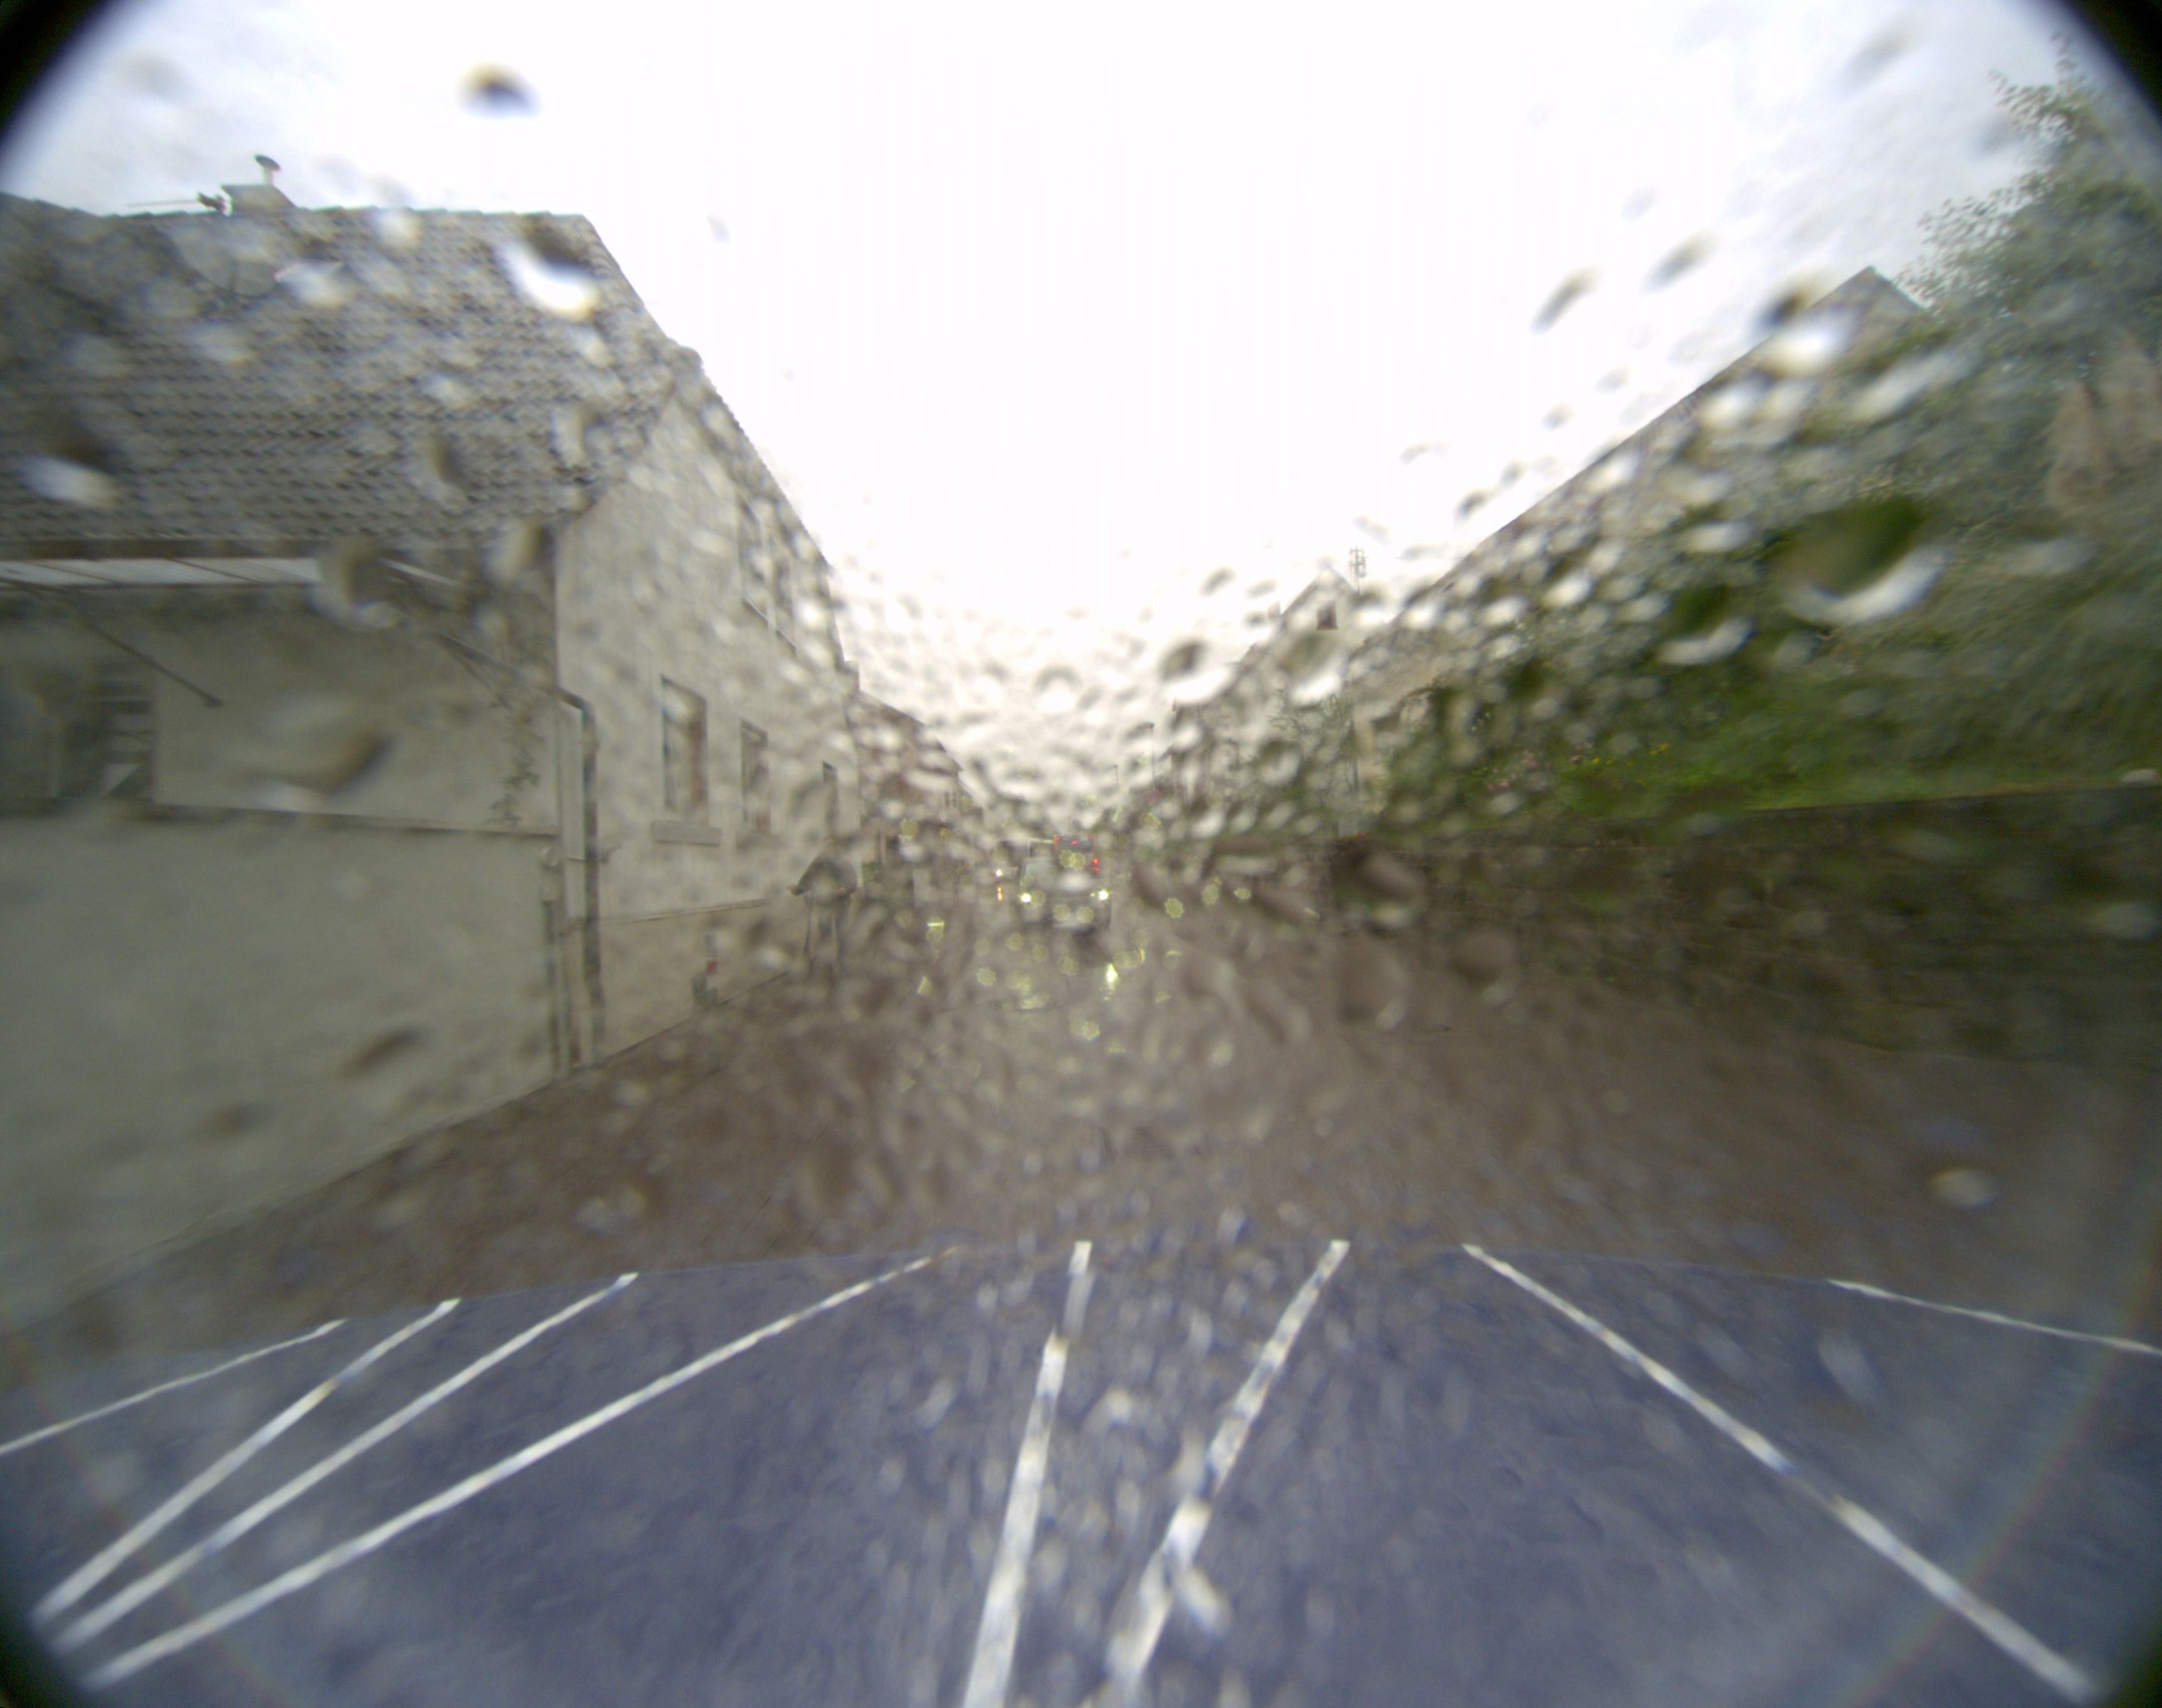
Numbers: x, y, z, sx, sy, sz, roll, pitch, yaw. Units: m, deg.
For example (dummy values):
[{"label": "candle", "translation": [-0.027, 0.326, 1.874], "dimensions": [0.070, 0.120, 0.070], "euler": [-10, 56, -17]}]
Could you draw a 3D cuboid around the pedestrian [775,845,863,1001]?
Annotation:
[{"label": "pedestrian", "translation": [-3.074, 0.779, 8.996], "dimensions": [0.696, 1.722, 0.821], "euler": [-3, 1, -3]}]

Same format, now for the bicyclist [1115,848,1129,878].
[{"label": "bicyclist", "translation": [2.523, 0.564, 47.142], "dimensions": [0.658, 1.759, 0.703], "euler": [-4, -1, -3]}]

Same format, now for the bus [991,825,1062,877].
[{"label": "bus", "translation": [-3.984, -0.285, 59.797], "dimensions": [3.440, 3.392, 13.873], "euler": [-3, 1, 4]}]

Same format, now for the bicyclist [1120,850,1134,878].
[{"label": "bicyclist", "translation": [2.898, 0.622, 47.479], "dimensions": [0.689, 1.703, 0.703], "euler": [-4, 2, -3]}]

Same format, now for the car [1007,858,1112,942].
[{"label": "car", "translation": [-0.486, 0.862, 15.662], "dimensions": [1.780, 1.348, 4.188], "euler": [-4, -1, -3]}]

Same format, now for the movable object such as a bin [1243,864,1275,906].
[{"label": "movable object such as a bin", "translation": [4.186, 0.721, 17.917], "dimensions": [0.539, 0.925, 0.544], "euler": [-4, 1, -5]}]

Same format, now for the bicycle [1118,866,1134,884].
[{"label": "bicycle", "translation": [2.816, 1.283, 47.409], "dimensions": [0.682, 1.045, 2.338], "euler": [-3, 0, -3]}]

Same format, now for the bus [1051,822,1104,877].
[{"label": "bus", "translation": [-0.107, -0.262, 49.201], "dimensions": [2.813, 2.922, 11.941], "euler": [-4, 0, 1]}]

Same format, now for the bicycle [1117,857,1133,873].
[{"label": "bicycle", "translation": [2.736, 0.698, 47.081], "dimensions": [0.663, 0.865, 1.934], "euler": [-4, -1, -5]}]
